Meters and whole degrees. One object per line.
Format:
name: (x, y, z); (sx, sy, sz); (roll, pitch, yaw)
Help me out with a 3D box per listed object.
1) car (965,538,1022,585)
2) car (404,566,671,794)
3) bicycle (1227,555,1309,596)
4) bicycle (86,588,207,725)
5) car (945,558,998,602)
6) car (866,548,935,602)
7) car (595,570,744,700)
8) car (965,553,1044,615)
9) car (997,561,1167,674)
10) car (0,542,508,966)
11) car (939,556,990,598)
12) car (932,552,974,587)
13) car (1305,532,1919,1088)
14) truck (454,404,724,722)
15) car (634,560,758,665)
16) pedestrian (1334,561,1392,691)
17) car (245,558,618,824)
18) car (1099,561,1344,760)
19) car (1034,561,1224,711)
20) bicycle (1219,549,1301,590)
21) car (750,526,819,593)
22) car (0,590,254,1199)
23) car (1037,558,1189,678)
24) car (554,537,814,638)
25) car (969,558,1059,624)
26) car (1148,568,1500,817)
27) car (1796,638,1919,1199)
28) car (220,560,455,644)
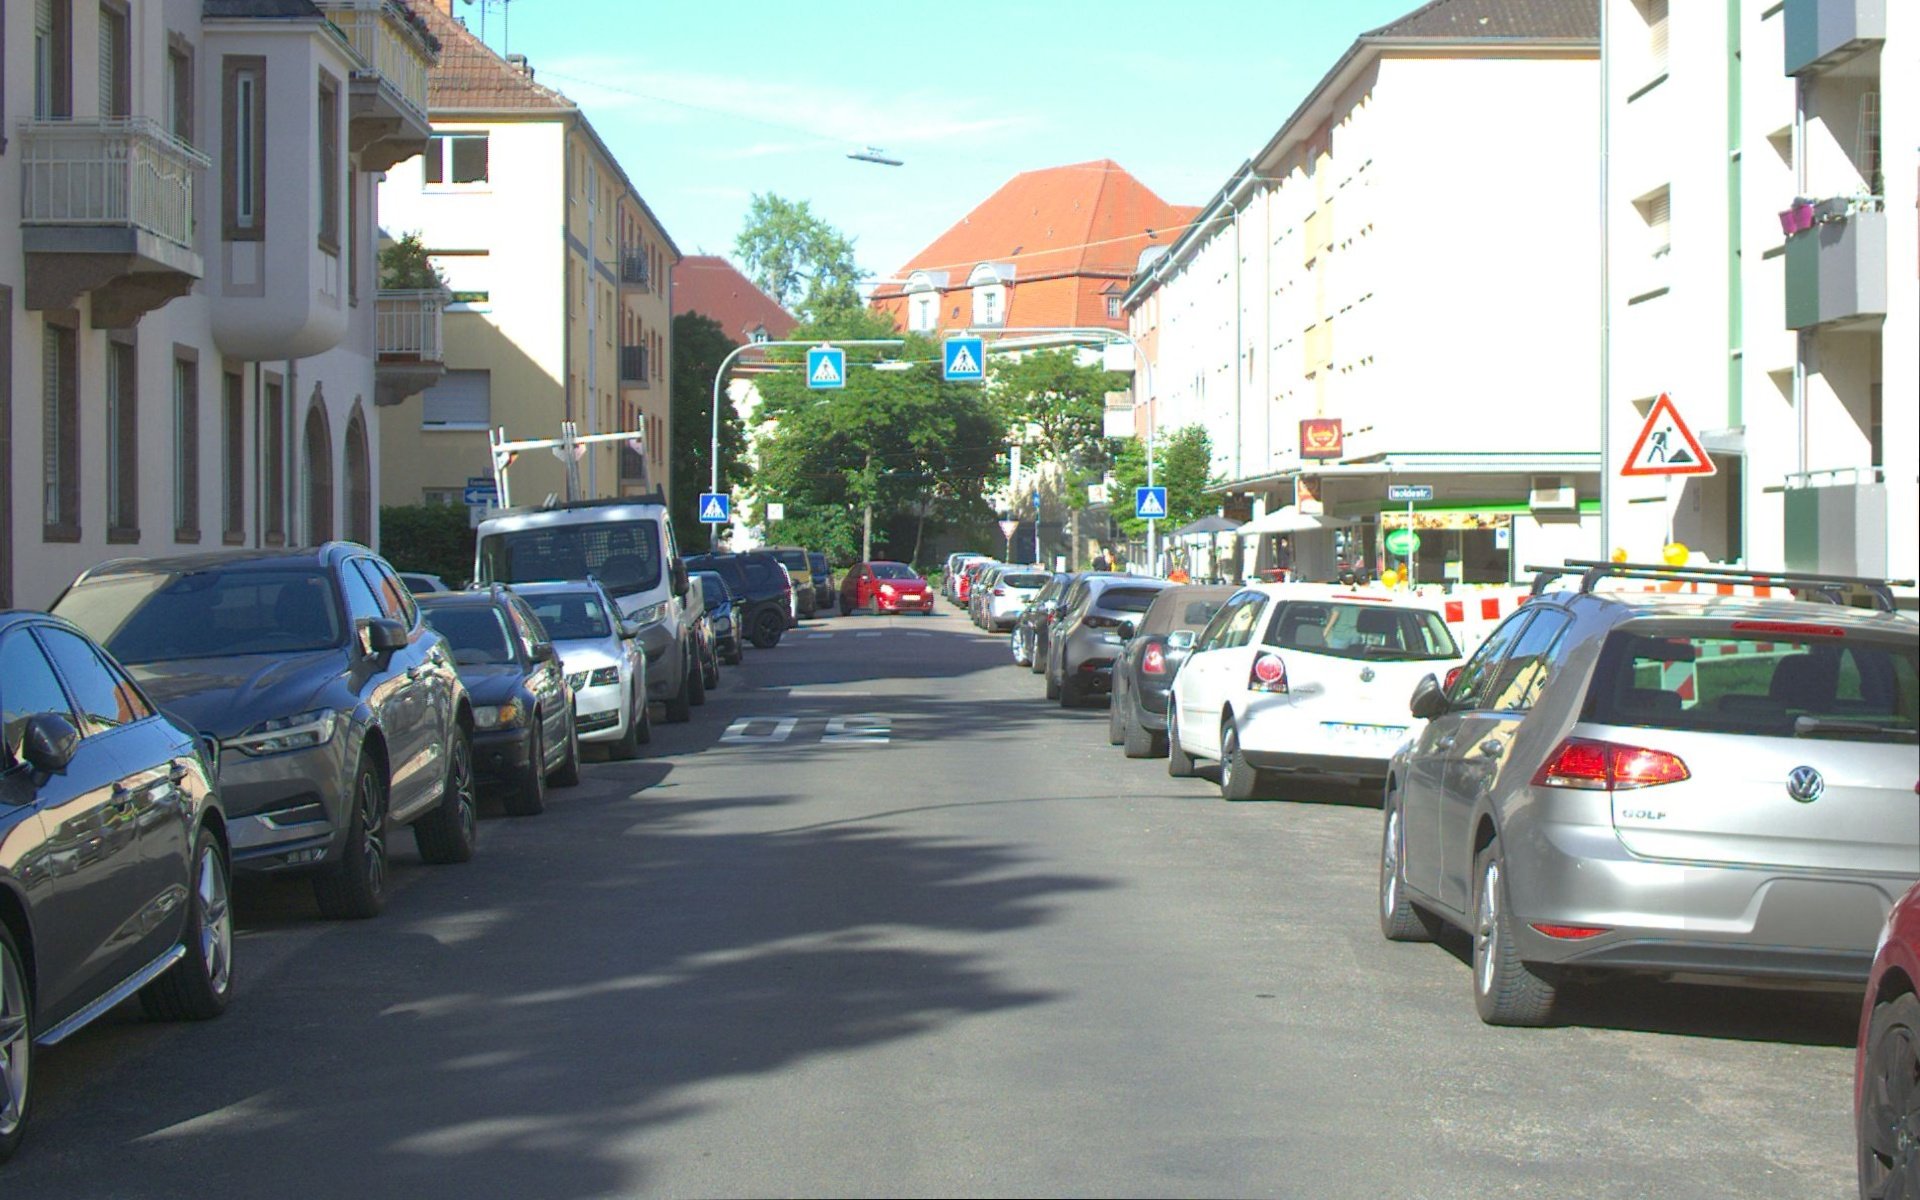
car: (1.044, -1.220, 108.771); (1.637, 1.436, 3.419); (0, 1, -2)
car: (-3.458, 0.597, 28.886); (1.792, 1.535, 4.642); (-5, 2, -3)
bicycle: (7.226, -0.573, 80.755); (1.806, 0.964, 0.674); (0, 1, -11)
bicycle: (-7.707, 0.514, 32.666); (0.629, 1.199, 2.341); (0, 1, -1)
car: (0.372, -0.663, 114.541); (1.637, 1.436, 3.419); (0, 1, -2)
car: (-1.604, -0.689, 93.608); (1.697, 1.436, 3.419); (0, 1, 2)
car: (-3.553, 0.409, 42.556); (1.645, 1.411, 4.081); (-4, 0, -3)
car: (1.049, -0.398, 81.986); (1.690, 1.436, 3.419); (0, 1, -2)
car: (1.698, 0.237, 49.520); (1.853, 1.518, 4.778); (1, 0, -5)
car: (-3.366, 0.598, 16.278); (1.878, 1.658, 4.932); (-2, 1, -1)
car: (0.143, -0.809, 119.336); (1.637, 1.436, 3.419); (0, 1, -2)
car: (-0.306, -1.275, 143.097); (1.637, 1.436, 3.419); (0, 1, -2)
car: (2.575, 0.622, 12.595); (1.898, 1.616, 4.603); (2, 0, -3)
truck: (-3.724, -0.365, 35.859); (2.259, 2.976, 7.276); (0, 0, -2)
car: (-3.977, 0.182, 52.285); (1.703, 1.411, 4.375); (-4, 0, -3)
pedestrian: (4.525, 0.285, 38.576); (0.575, 1.428, 0.471); (-1, 1, 1)
car: (-3.376, 0.534, 22.756); (1.792, 1.557, 4.459); (1, 0, 0)
car: (2.128, 0.455, 28.805); (1.688, 1.462, 3.583); (3, 1, 0)
car: (1.836, 0.367, 38.531); (1.792, 1.466, 4.339); (4, 0, 0)
bicycle: (7.098, -0.717, 81.381); (1.806, 0.964, 0.674); (0, 1, -11)
car: (-4.709, -1.091, 92.633); (1.697, 1.773, 4.099); (0, 1, -1)
car: (-3.331, 0.750, 9.924); (1.794, 1.466, 4.502); (-2, 1, -2)
car: (1.938, 0.220, 44.506); (1.645, 1.455, 3.940); (1, 0, -2)
car: (-4.599, -0.245, 57.750); (1.826, 1.628, 4.246); (1, 1, 43)
car: (1.182, -0.221, 77.006); (1.845, 1.436, 3.419); (0, 1, -2)
car: (2.457, 0.584, 24.125); (1.685, 1.458, 3.820); (6, 0, -4)
car: (2.772, 0.830, 5.591); (1.752, 1.439, 4.523); (0, 1, 1)
car: (-11.180, 0.025, 61.726); (3.978, 1.474, 1.595); (0, 1, -18)
